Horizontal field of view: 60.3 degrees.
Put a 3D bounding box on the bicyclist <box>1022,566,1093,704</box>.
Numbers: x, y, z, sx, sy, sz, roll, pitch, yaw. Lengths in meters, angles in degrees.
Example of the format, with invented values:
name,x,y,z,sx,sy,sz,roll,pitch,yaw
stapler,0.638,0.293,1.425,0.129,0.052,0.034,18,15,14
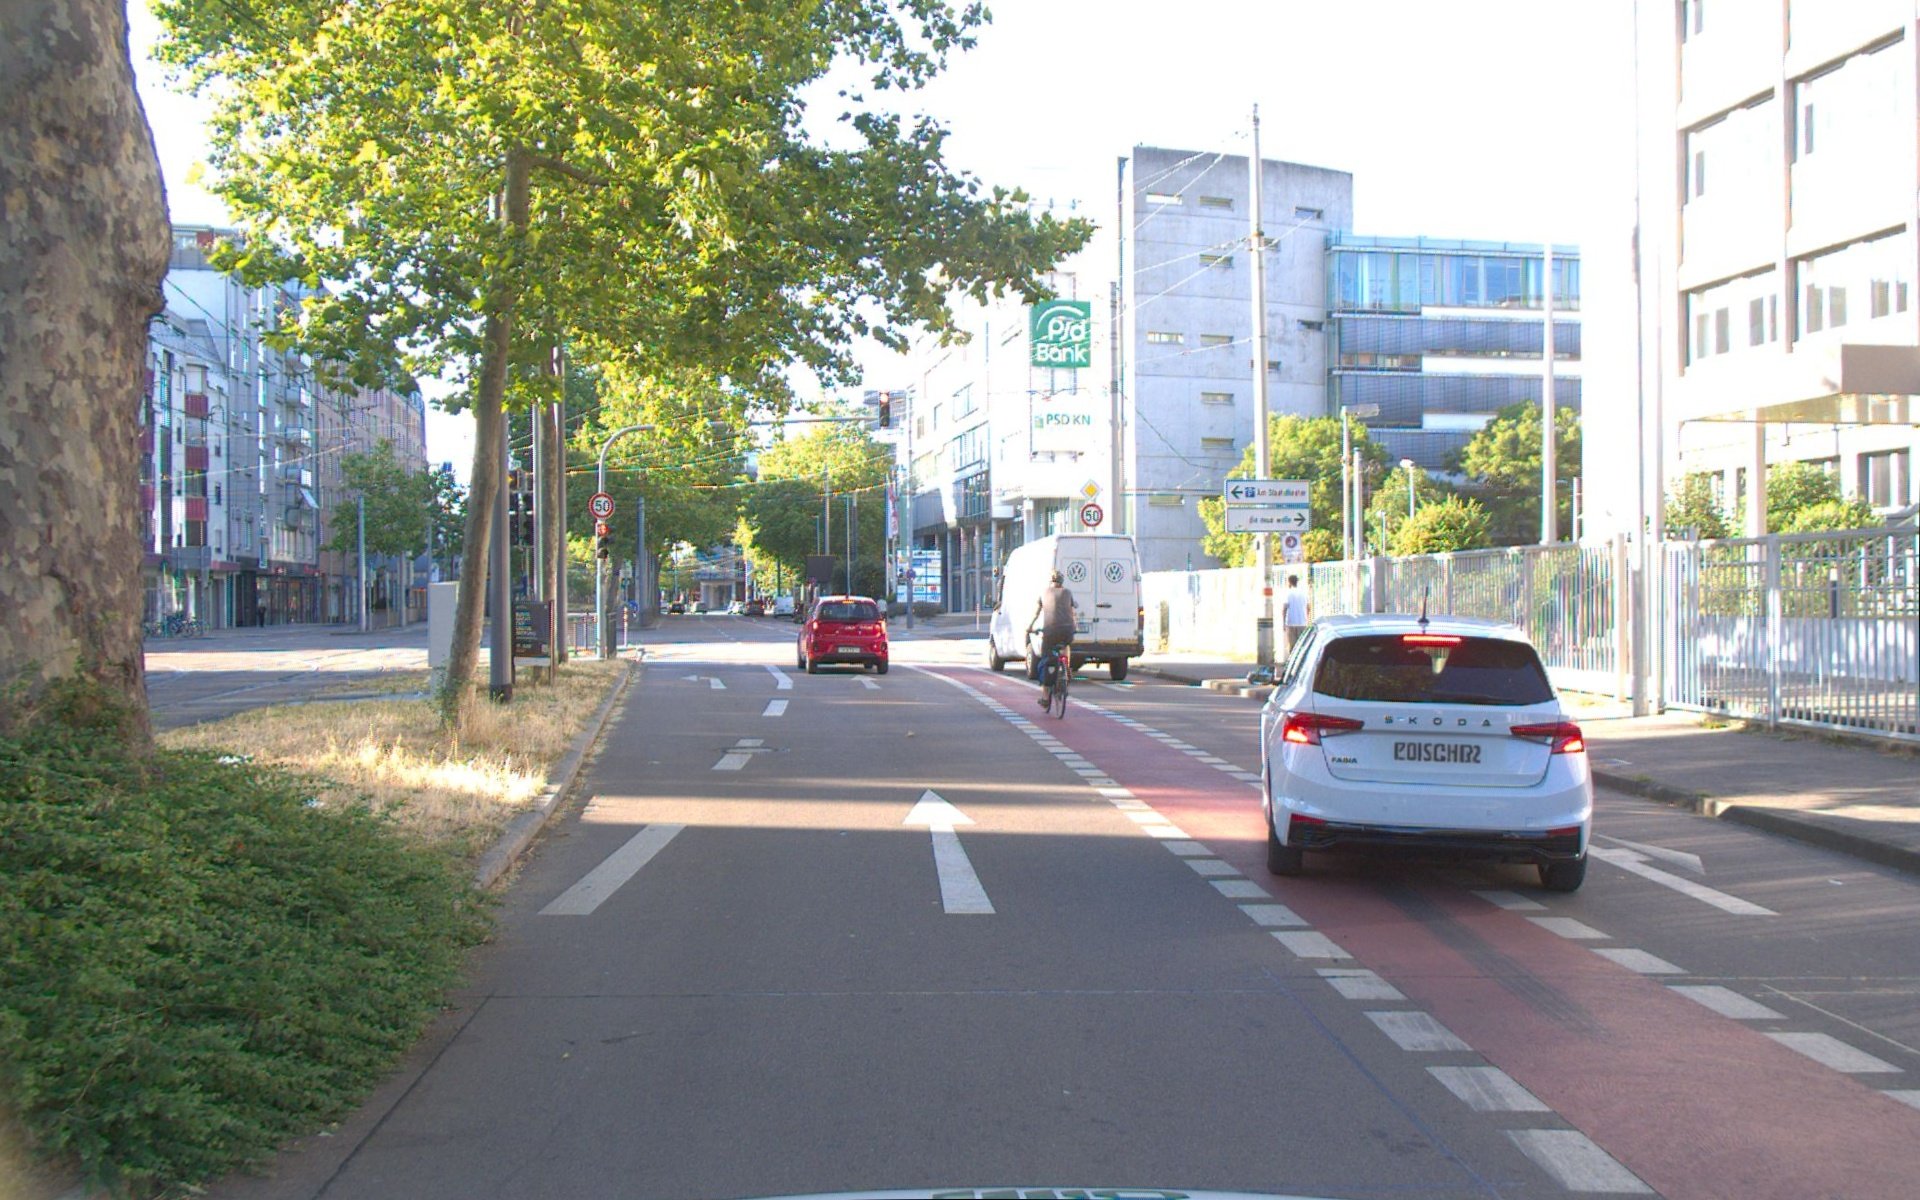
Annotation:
name,x,y,z,sx,sy,sz,roll,pitch,yaw
bicyclist,1.218,0.434,20.793,0.729,1.698,0.743,1,0,-9

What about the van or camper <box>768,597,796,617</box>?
name,x,y,z,sx,sy,sz,roll,pitch,yaw
van or camper,-16.986,0.668,157.726,2.108,1.781,4.416,-2,0,-13

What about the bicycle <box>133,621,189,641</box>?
name,x,y,z,sx,sy,sz,roll,pitch,yaw
bicycle,-35.430,1.364,73.338,2.132,0.801,0.638,-1,0,-14

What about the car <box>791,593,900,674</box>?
name,x,y,z,sx,sy,sz,roll,pitch,yaw
car,-2.359,0.639,33.380,1.806,1.515,3.707,-1,0,-10

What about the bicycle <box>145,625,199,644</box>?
name,x,y,z,sx,sy,sz,roll,pitch,yaw
bicycle,-35.317,1.525,74.132,2.132,0.801,0.490,-1,0,-14

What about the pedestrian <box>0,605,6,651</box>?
name,x,y,z,sx,sy,sz,roll,pitch,yaw
pedestrian,-36.242,1.052,61.871,0.696,1.691,1.029,-1,0,-15

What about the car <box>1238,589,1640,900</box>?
name,x,y,z,sx,sy,sz,roll,pitch,yaw
car,2.711,0.715,10.238,1.763,1.527,3.984,0,0,7

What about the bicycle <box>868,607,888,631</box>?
name,x,y,z,sx,sy,sz,roll,pitch,yaw
bicycle,-4.233,0.971,85.586,0.778,1.182,2.494,-1,0,-9

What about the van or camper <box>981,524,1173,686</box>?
name,x,y,z,sx,sy,sz,roll,pitch,yaw
van or camper,2.111,0.094,32.269,2.227,2.781,6.332,2,0,-10

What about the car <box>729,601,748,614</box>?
name,x,y,z,sx,sy,sz,roll,pitch,yaw
car,-26.818,0.887,200.394,1.852,1.555,4.416,-2,0,-13

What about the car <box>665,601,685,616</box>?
name,x,y,z,sx,sy,sz,roll,pitch,yaw
car,-34.032,1.032,197.136,2.023,1.682,3.478,-1,0,-15

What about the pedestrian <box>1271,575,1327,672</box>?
name,x,y,z,sx,sy,sz,roll,pitch,yaw
pedestrian,6.349,0.434,31.019,0.772,1.779,0.770,-1,0,-11

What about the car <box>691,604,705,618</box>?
name,x,y,z,sx,sy,sz,roll,pitch,yaw
car,-32.659,1.388,206.303,1.628,1.635,3.521,-1,0,-11

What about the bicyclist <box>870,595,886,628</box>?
name,x,y,z,sx,sy,sz,roll,pitch,yaw
bicyclist,-4.256,0.588,85.686,0.770,1.663,0.638,-1,0,-9

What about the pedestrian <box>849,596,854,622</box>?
name,x,y,z,sx,sy,sz,roll,pitch,yaw
pedestrian,-6.768,0.558,103.291,0.288,1.589,0.302,-1,0,-8

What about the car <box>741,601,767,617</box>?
name,x,y,z,sx,sy,sz,roll,pitch,yaw
car,-22.284,0.962,178.905,2.435,1.555,4.418,-2,0,-12

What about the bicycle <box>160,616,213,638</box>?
name,x,y,z,sx,sy,sz,roll,pitch,yaw
bicycle,-35.585,1.253,76.115,2.132,0.967,0.490,-1,0,-14

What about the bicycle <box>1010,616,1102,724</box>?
name,x,y,z,sx,sy,sz,roll,pitch,yaw
bicycle,1.187,0.852,20.939,0.730,1.245,2.152,1,0,-8
